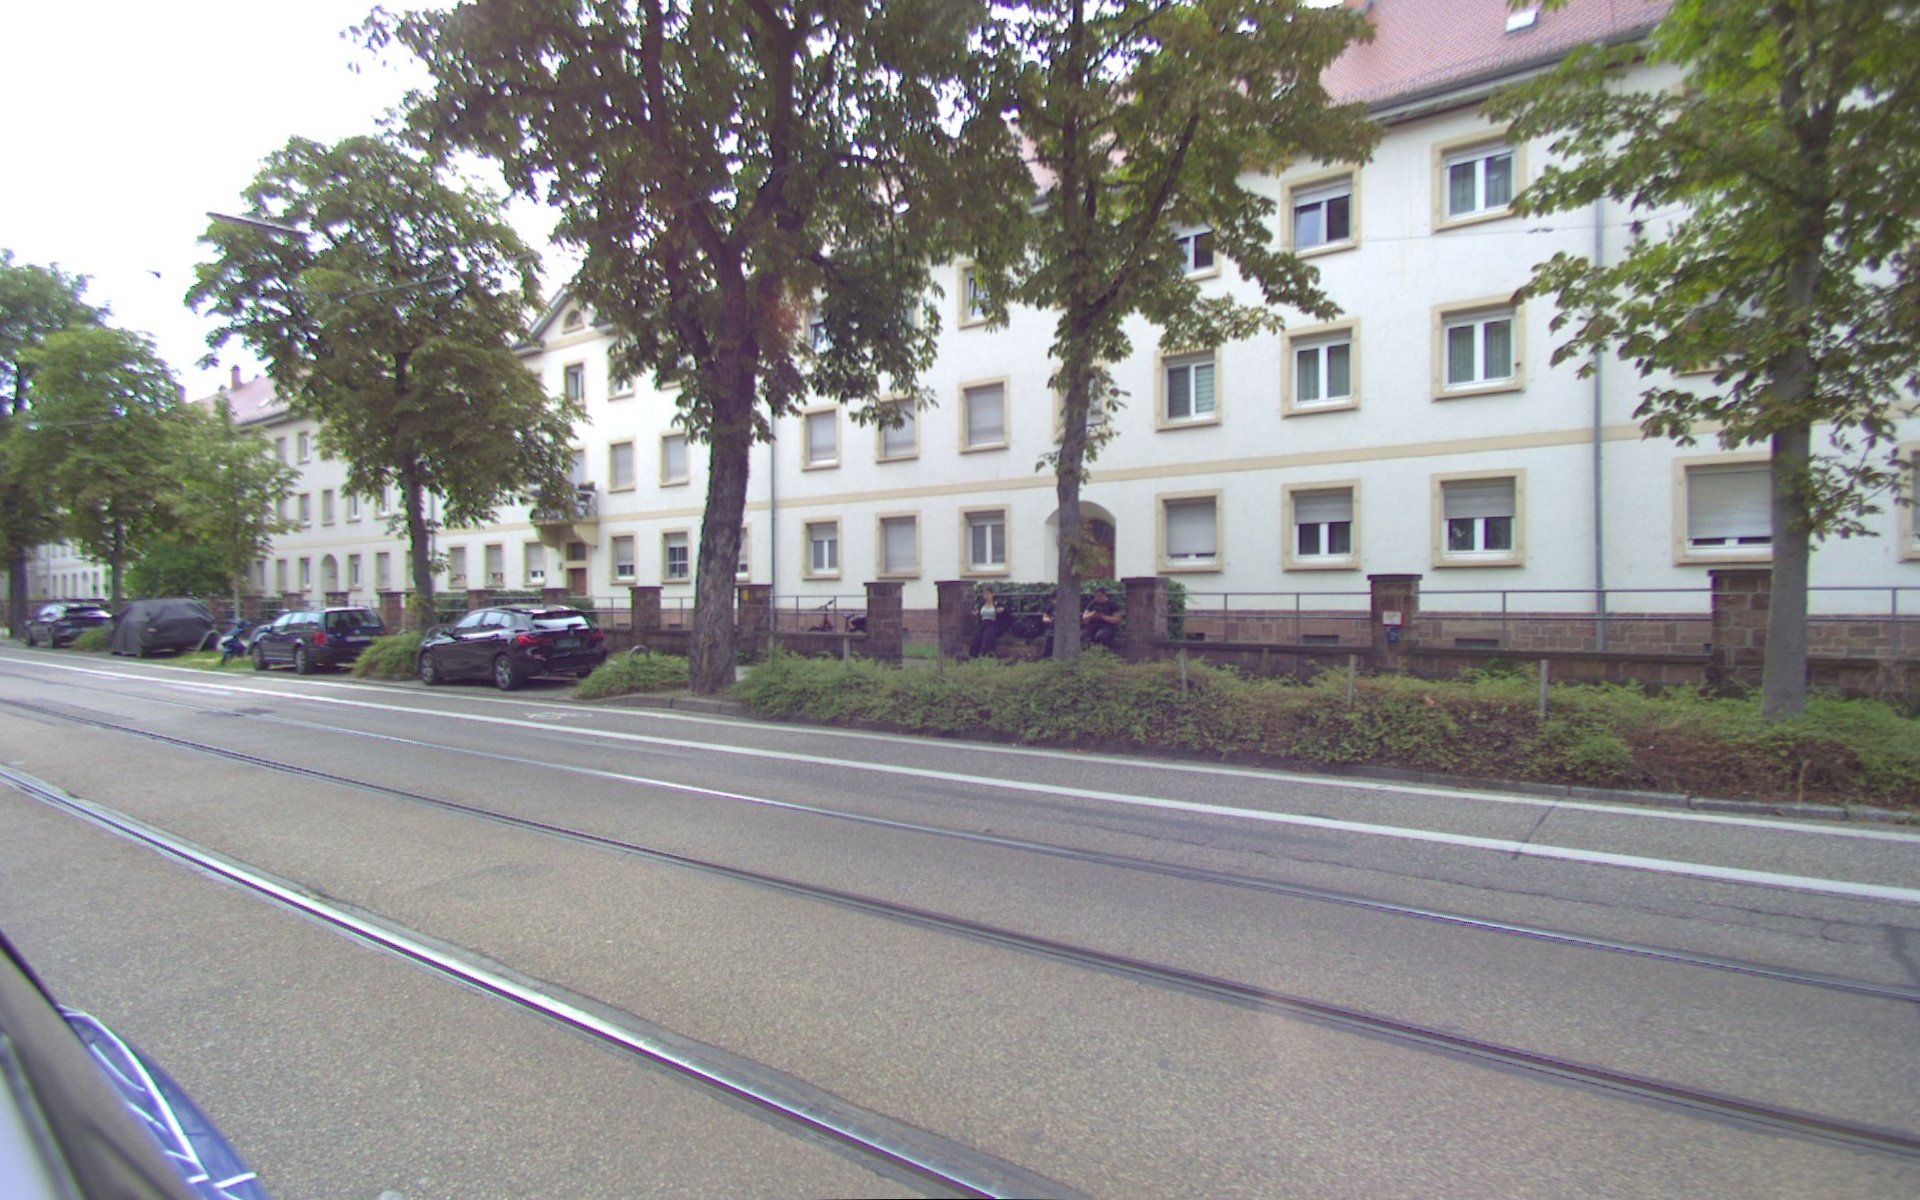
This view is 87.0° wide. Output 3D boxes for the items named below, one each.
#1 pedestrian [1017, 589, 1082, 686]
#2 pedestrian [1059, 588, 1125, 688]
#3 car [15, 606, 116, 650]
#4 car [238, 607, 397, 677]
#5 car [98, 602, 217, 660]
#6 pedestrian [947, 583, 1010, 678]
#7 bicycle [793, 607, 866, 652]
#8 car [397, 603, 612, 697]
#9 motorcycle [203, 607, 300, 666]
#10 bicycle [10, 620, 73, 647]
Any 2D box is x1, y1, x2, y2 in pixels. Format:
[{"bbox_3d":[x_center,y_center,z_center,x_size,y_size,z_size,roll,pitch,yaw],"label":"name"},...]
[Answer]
[{"bbox_3d":[1.421,0.569,15.978,0.730,1.476,0.826,-1,0,31],"label":"pedestrian"},{"bbox_3d":[2.040,0.564,15.580,0.730,1.476,0.826,-1,0,31],"label":"pedestrian"},{"bbox_3d":[-31.583,0.957,35.697,4.289,1.481,1.682,0,0,35],"label":"car"},{"bbox_3d":[-14.911,0.912,23.412,4.292,1.434,1.681,0,1,37],"label":"car"},{"bbox_3d":[-24.043,0.878,30.283,4.292,1.624,1.769,0,0,37],"label":"car"},{"bbox_3d":[0.312,0.488,16.769,0.730,1.524,0.826,-1,0,31],"label":"pedestrian"},{"bbox_3d":[-2.611,0.576,20.195,1.547,0.869,0.504,-1,0,37],"label":"bicycle"},{"bbox_3d":[-8.431,0.840,18.601,4.292,1.434,1.682,0,3,37],"label":"car"},{"bbox_3d":[-17.992,0.911,25.754,0.590,1.269,1.852,-1,5,32],"label":"motorcycle"},{"bbox_3d":[-35.122,1.285,38.705,0.670,0.978,1.656,-1,0,27],"label":"bicycle"}]
